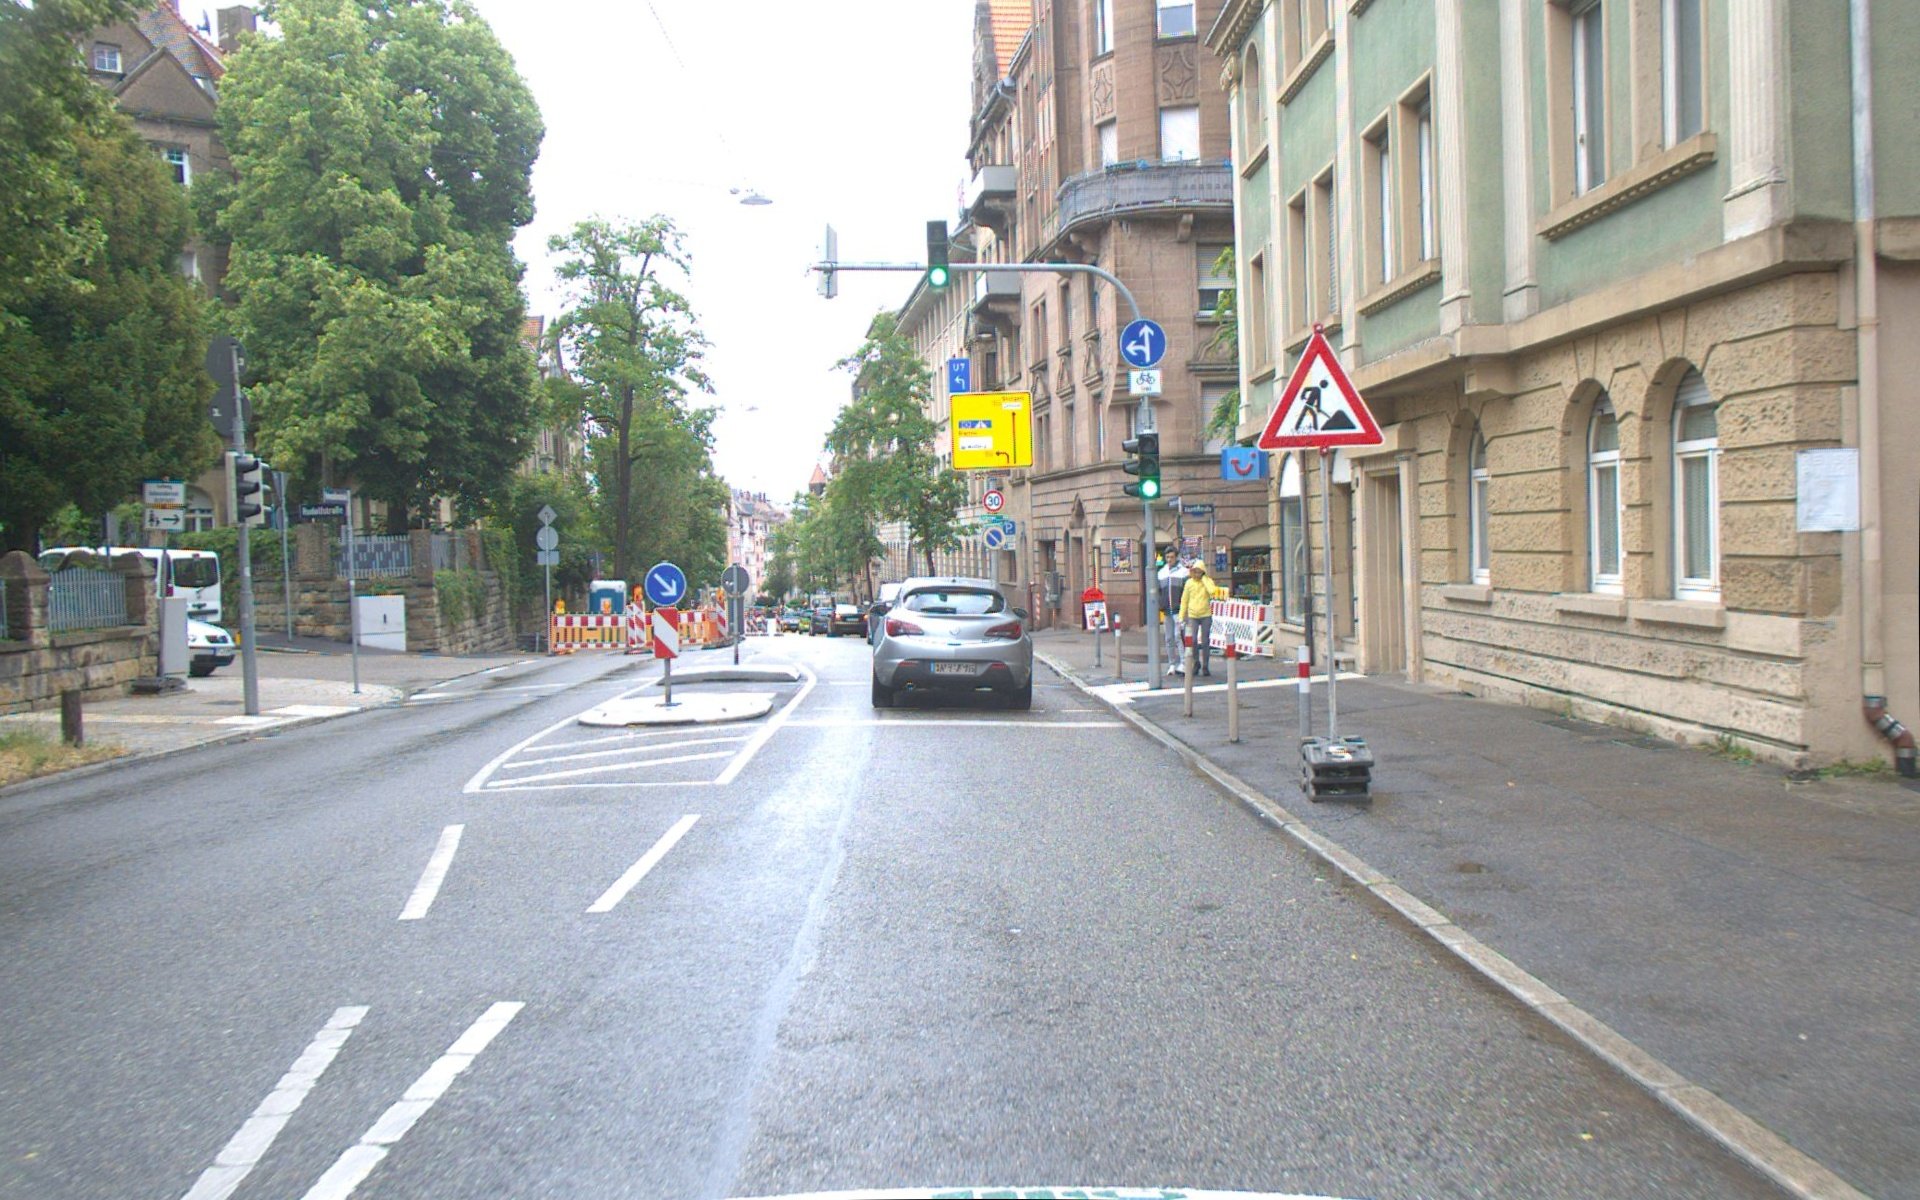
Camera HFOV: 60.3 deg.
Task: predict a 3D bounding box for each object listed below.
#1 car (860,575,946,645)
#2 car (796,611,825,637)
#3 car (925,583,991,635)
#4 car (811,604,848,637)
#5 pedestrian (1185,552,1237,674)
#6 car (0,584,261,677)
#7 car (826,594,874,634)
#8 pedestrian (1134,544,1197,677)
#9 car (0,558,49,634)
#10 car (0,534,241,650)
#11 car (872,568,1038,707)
[{"bbox_3d":[-1.369,0.233,38.075,1.738,1.531,3.864,0,-1,-6],"label":"car"},{"bbox_3d":[-9.577,1.539,105.735,1.626,1.570,3.658,-4,-1,-8],"label":"car"},{"bbox_3d":[-0.109,0.318,54.902,1.626,1.570,3.658,-4,-1,-8],"label":"car"},{"bbox_3d":[-6.789,1.068,85.632,1.626,1.570,3.658,-4,-1,-8],"label":"car"},{"bbox_3d":[3.441,0.166,22.708,0.584,1.612,0.666,-3,1,6],"label":"pedestrian"},{"bbox_3d":[-14.365,0.537,28.494,3.781,1.433,1.827,2,-2,4],"label":"car"},{"bbox_3d":[-4.728,0.608,70.526,1.626,1.570,3.657,-4,-1,-9],"label":"car"},{"bbox_3d":[2.893,0.134,23.260,0.702,1.805,0.666,-3,1,13],"label":"pedestrian"},{"bbox_3d":[-23.202,-0.203,37.760,4.344,1.539,2.112,5,4,26],"label":"car"},{"bbox_3d":[-18.214,-0.207,35.704,4.564,2.083,2.027,4,2,13],"label":"car"},{"bbox_3d":[-0.053,0.414,19.687,1.774,1.475,3.869,0,-1,0],"label":"car"}]
